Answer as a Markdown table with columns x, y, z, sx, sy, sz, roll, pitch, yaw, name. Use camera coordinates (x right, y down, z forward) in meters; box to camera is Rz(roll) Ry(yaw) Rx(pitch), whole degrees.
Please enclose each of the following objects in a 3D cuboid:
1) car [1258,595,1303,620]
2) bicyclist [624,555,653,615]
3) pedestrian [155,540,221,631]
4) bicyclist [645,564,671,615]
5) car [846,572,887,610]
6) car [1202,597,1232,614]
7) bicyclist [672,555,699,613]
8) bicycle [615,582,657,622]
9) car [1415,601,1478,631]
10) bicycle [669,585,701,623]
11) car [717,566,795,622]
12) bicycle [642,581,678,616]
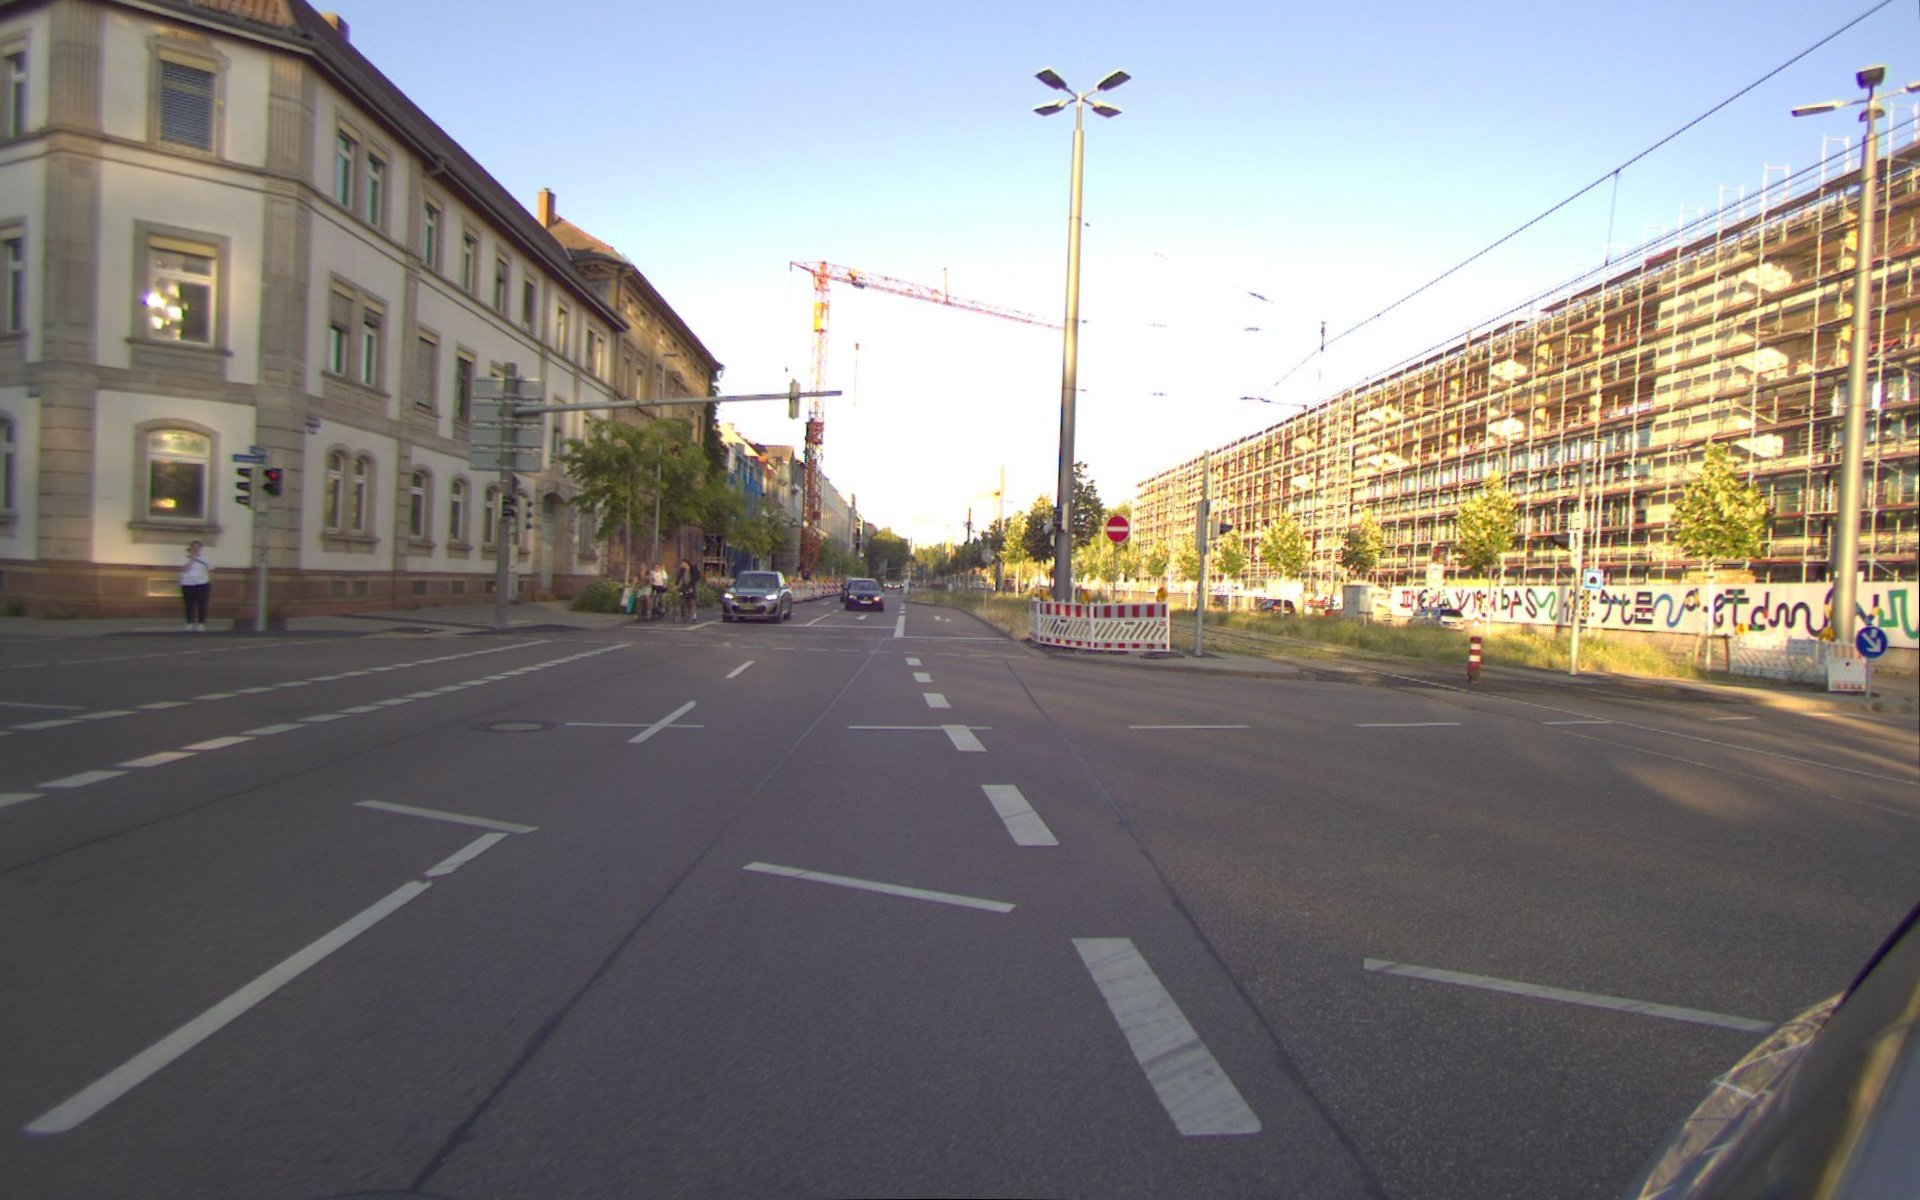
| x | y | z | sx | sy | sz | roll | pitch | yaw | name |
| --- | --- | --- | --- | --- | --- | --- | --- | --- | --- |
| 22.155 | 0.502 | 70.097 | 1.753 | 1.536 | 4.068 | 4 | 1 | 1 | car |
| -9.571 | -0.470 | 30.111 | 0.501 | 1.721 | 0.768 | 5 | 2 | 0 | bicyclist |
| -14.585 | -0.274 | 19.138 | 0.801 | 1.677 | 0.638 | 2 | 0 | -22 | pedestrian |
| -9.499 | -0.334 | 31.845 | 0.503 | 1.568 | 0.692 | 3 | 0 | 0 | bicyclist |
| -4.297 | -0.442 | 47.033 | 1.670 | 1.617 | 4.262 | 1 | 1 | -2 | car |
| 26.248 | 0.530 | 103.372 | 1.962 | 1.593 | 4.000 | 2 | 1 | 0 | car |
| -8.162 | -0.487 | 30.096 | 0.691 | 1.722 | 0.769 | 0 | 2 | -9 | bicyclist |
| -9.610 | 0.042 | 30.062 | 0.519 | 1.064 | 2.048 | 5 | 2 | 0 | bicycle |
| 27.163 | 0.858 | 56.614 | 1.639 | 1.473 | 4.065 | 4 | 1 | 4 | car |
| -8.179 | 0.110 | 30.175 | 0.707 | 1.064 | 2.047 | 0 | 2 | -9 | bicycle |
| -6.484 | -0.220 | 32.605 | 1.799 | 1.617 | 4.262 | 1 | 1 | -2 | car |
| -9.522 | -0.057 | 32.198 | 0.508 | 1.064 | 2.044 | 3 | 1 | -1 | bicycle |
